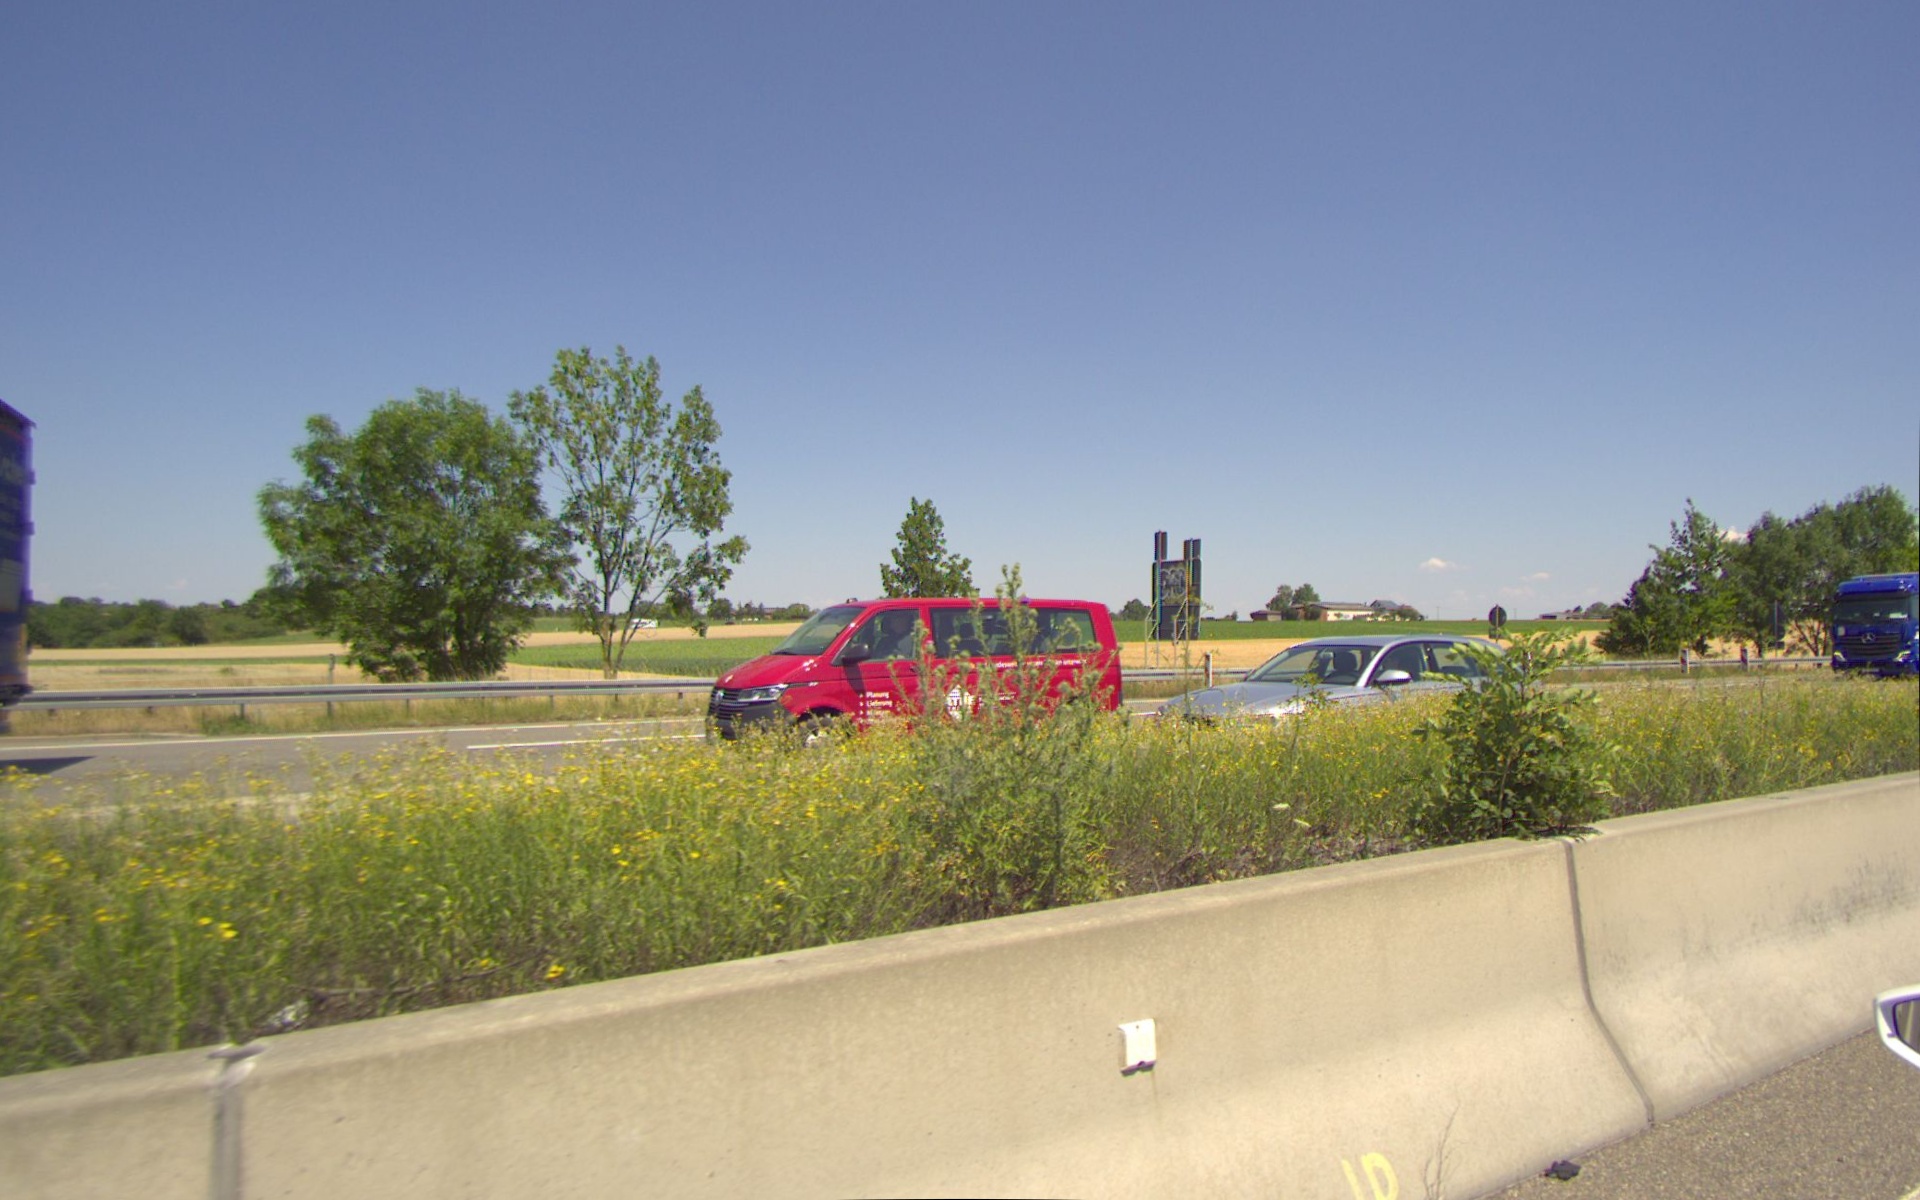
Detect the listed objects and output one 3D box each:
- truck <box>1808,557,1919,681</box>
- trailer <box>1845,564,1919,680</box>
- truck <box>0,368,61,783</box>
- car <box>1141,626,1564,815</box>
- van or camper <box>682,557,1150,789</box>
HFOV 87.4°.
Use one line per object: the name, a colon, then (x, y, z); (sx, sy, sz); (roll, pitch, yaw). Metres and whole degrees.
truck: (35.367, 0.766, 38.343); (5.520, 4.407, 2.852); (1, -2, -30)
trailer: (41.757, 0.973, 42.084); (13.481, 4.407, 2.870); (1, -2, -30)
truck: (-16.319, -0.357, 7.463); (13.958, 4.293, 2.581); (2, -4, -31)
car: (4.129, 1.080, 10.344); (4.510, 1.587, 1.676); (1, -2, -31)
van or camper: (-0.410, 0.793, 12.316); (5.431, 2.304, 2.083); (1, -2, -31)
